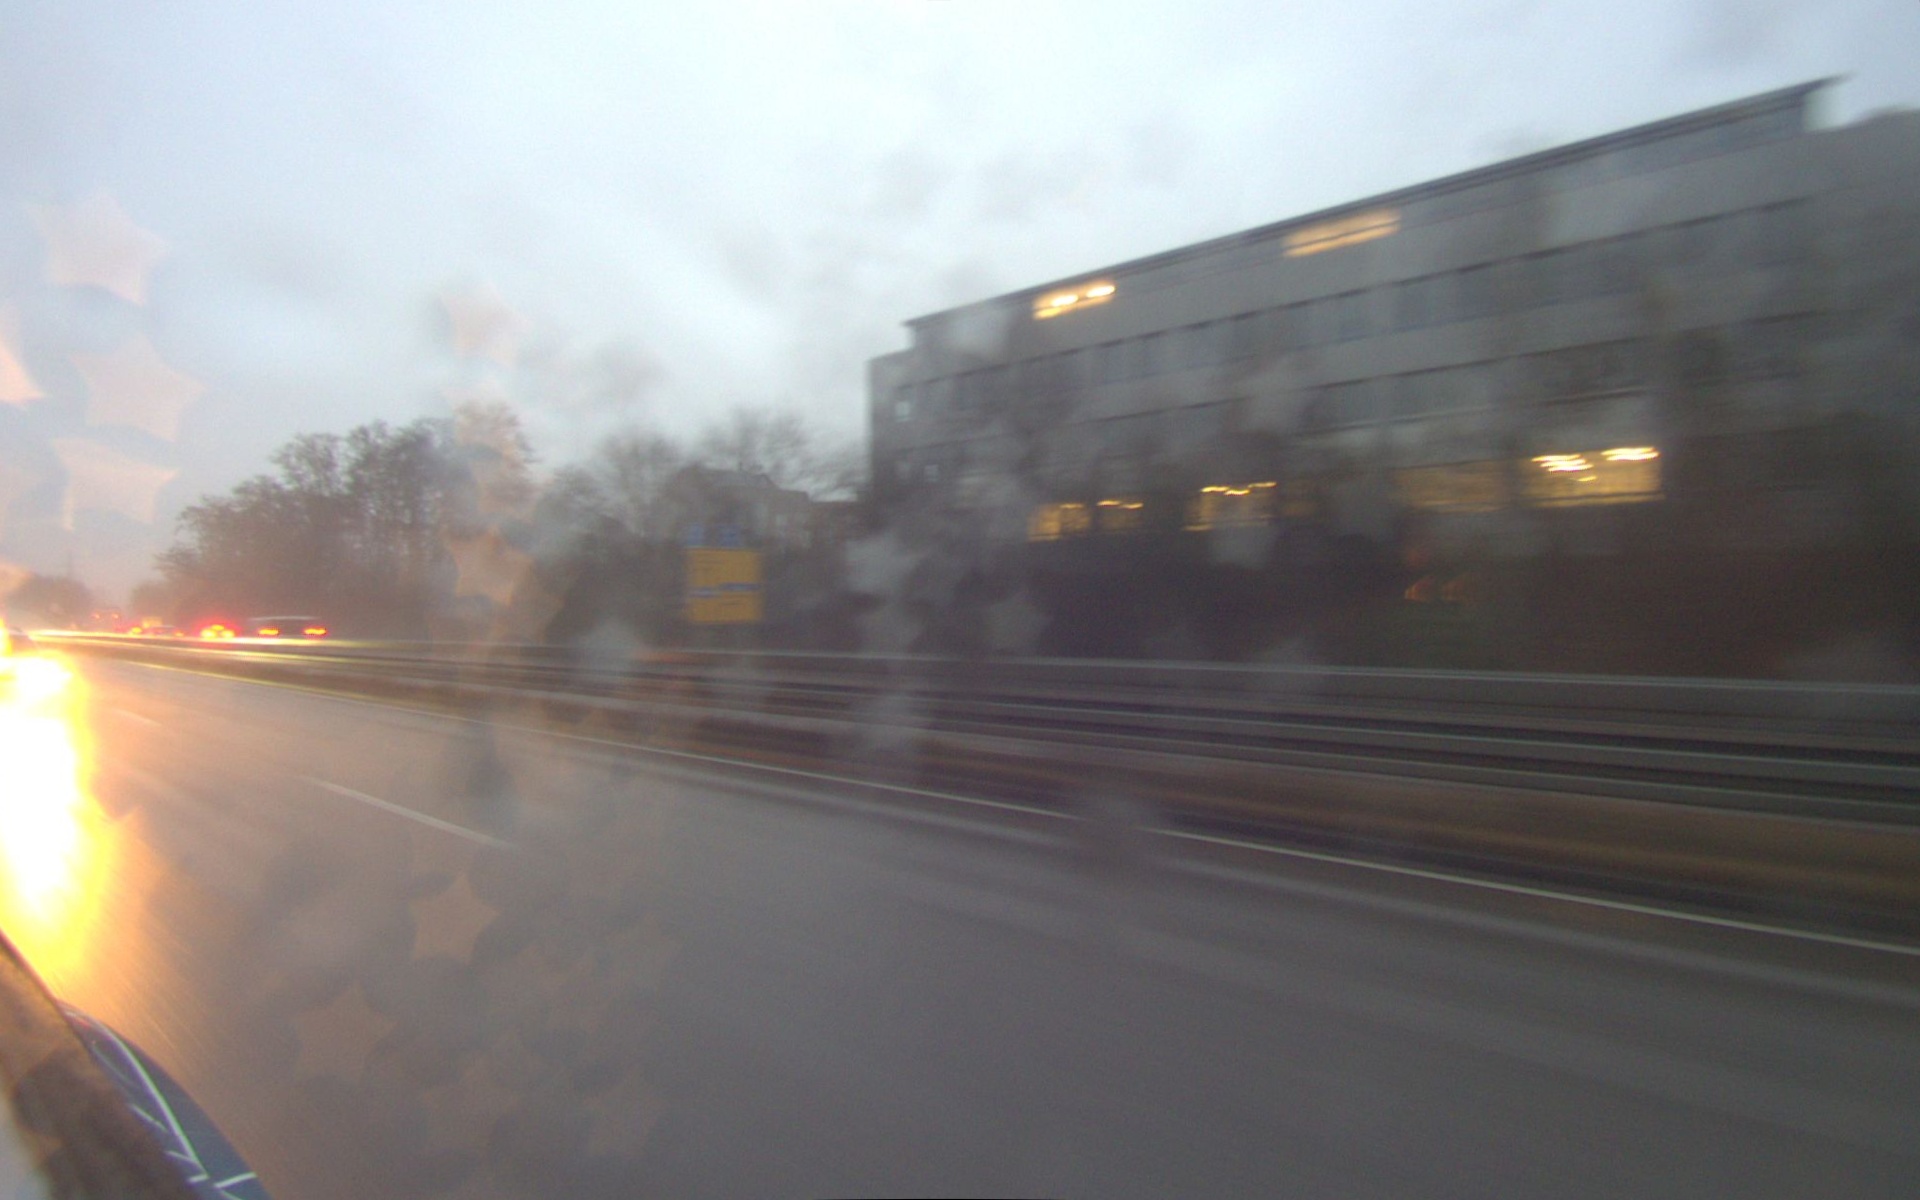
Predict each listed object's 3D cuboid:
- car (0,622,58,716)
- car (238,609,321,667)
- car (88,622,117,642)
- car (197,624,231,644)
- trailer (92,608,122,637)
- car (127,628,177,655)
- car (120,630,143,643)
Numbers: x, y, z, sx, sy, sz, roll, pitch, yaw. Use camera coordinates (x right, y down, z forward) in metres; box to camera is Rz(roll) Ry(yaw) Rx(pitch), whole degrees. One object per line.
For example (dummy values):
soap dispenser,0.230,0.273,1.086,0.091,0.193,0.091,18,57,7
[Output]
car,-17.604,1.187,18.111,1.925,1.532,4.790,1,-2,-45
car,-28.818,1.573,42.789,5.051,2.299,1.952,-2,-1,45
car,-124.866,4.676,147.289,6.341,2.751,2.500,-2,1,44
car,-62.099,2.811,84.195,4.541,1.524,1.528,-1,0,44
trailer,-153.011,4.100,181.444,3.448,4.883,13.495,-2,1,-42
car,-52.903,2.723,66.241,4.667,1.669,1.822,-2,-1,42
car,-97.854,4.303,119.513,4.258,1.331,1.528,-2,1,44
